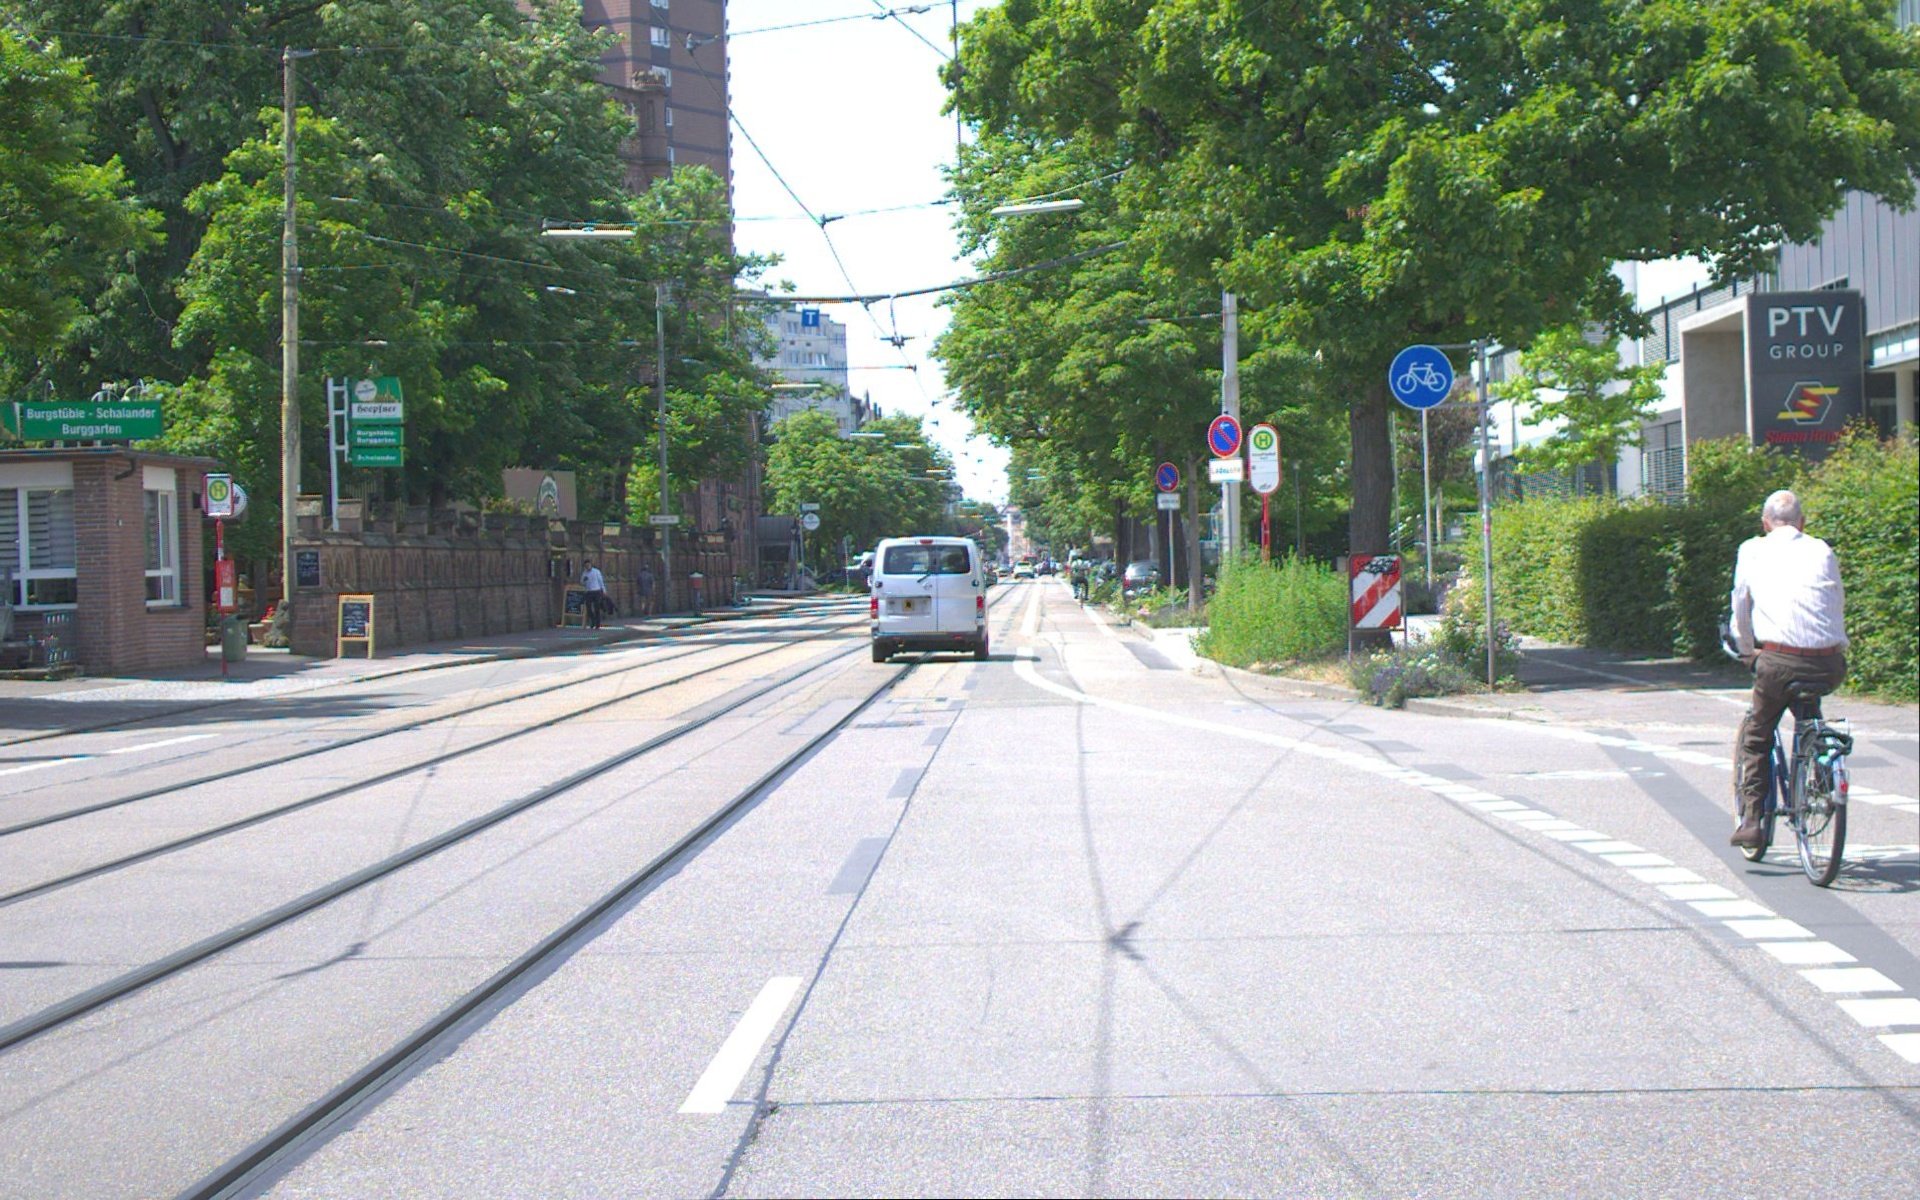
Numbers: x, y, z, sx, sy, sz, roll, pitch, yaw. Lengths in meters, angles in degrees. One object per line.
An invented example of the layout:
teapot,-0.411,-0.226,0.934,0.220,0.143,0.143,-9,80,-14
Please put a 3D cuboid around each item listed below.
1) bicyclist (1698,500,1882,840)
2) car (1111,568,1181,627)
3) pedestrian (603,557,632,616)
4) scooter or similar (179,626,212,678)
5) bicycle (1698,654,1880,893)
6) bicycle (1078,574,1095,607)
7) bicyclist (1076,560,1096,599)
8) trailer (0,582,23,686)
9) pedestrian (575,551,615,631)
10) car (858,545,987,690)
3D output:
bicyclist,3.515,0.285,14.609,0.591,1.392,0.841,-1,0,4
car,5.071,-0.047,94.256,1.585,1.484,3.455,-4,-1,-1
pedestrian,-10.321,-0.413,103.676,0.677,1.721,0.983,-4,-1,-1
scooter or similar,-12.726,0.861,57.206,0.432,0.860,0.500,-1,-1,-1
bicycle,3.508,0.706,14.659,0.466,0.884,2.048,-1,0,6
bicycle,3.884,-0.302,105.430,0.387,0.961,1.699,-4,-1,-1
bicyclist,3.865,-0.614,105.461,0.540,1.154,0.575,-4,-1,-1
trailer,-15.428,0.521,50.870,2.728,1.521,1.329,-1,-1,3
pedestrian,-9.449,-0.238,89.036,0.863,2.007,0.646,-4,-1,-1
car,-0.530,0.228,51.705,1.752,2.007,4.000,-3,1,1
